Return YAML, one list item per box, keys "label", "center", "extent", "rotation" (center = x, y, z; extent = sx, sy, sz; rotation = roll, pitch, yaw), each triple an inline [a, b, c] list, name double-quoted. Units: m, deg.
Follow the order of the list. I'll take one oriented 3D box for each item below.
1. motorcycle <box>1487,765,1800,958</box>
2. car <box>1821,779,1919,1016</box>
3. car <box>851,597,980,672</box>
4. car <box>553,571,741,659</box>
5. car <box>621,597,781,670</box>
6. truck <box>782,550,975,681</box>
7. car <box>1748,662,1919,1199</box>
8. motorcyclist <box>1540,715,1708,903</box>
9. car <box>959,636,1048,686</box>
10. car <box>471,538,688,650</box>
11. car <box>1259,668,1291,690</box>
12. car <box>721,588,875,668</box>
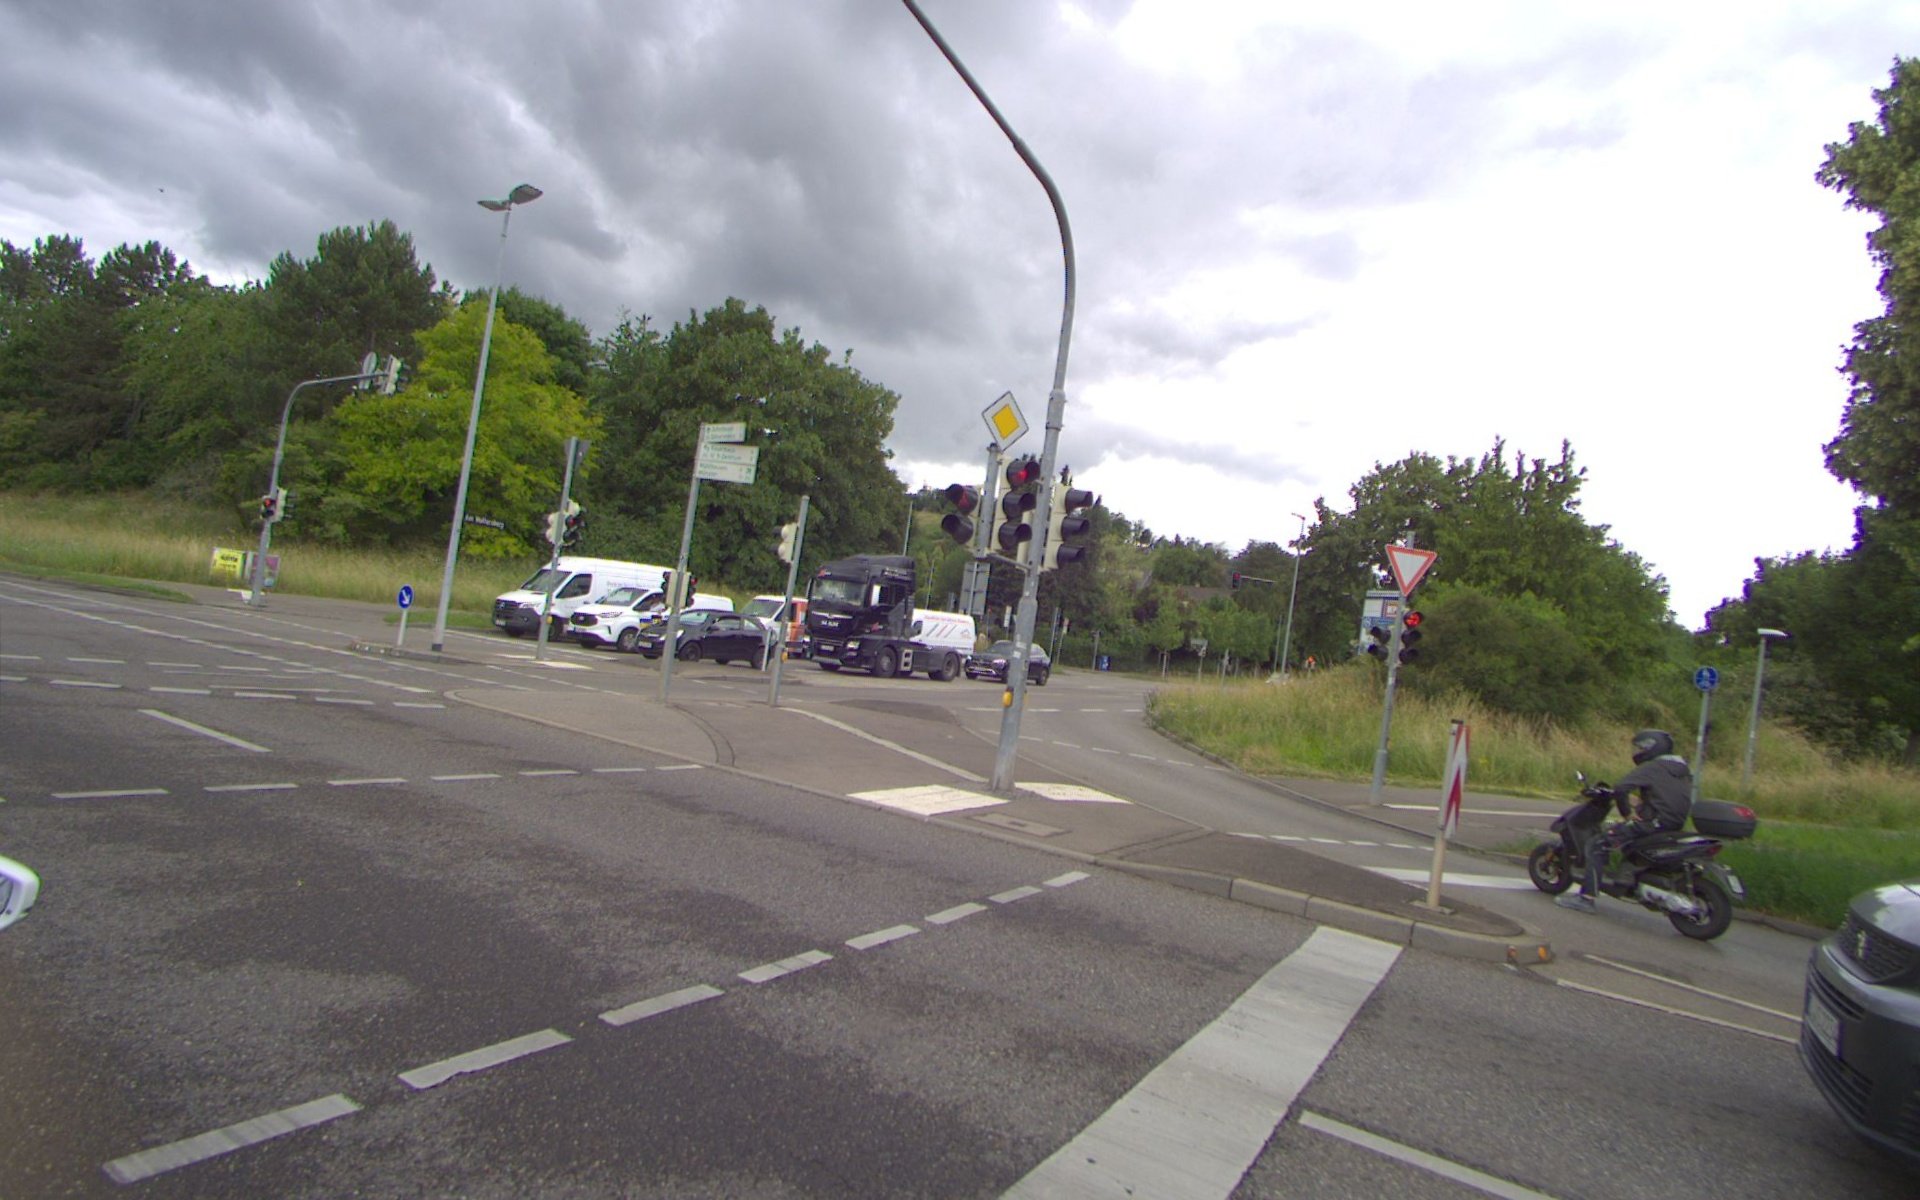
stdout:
- label: "motorcycle"
  center: [5.783, 2.181, 8.693]
  extent: [0.750, 1.102, 2.059]
  rotation: [9, -2, -23]
- label: "car"
  center: [8.451, 2.238, 6.125]
  extent: [4.434, 1.435, 1.838]
  rotation: [7, -4, 26]
- label: "car"
  center: [-1.896, 1.674, 46.216]
  extent: [2.193, 2.751, 6.674]
  rotation: [5, -3, 33]
- label: "car"
  center: [-9.041, 0.504, 29.514]
  extent: [2.086, 2.013, 4.981]
  rotation: [4, -3, 32]
- label: "car"
  center: [-6.720, 0.917, 26.455]
  extent: [1.610, 1.458, 3.859]
  rotation: [6, -2, 34]
- label: "truck"
  center: [-2.529, 0.627, 33.145]
  extent: [3.025, 3.558, 5.950]
  rotation: [5, -3, 33]
- label: "car"
  center: [4.955, 1.346, 2.633]
  extent: [4.150, 1.801, 1.813]
  rotation: [6, -1, 29]
- label: "motorcyclist"
  center: [5.798, 1.809, 8.812]
  extent: [0.750, 1.437, 0.813]
  rotation: [9, -2, -23]
- label: "car"
  center: [1.766, 2.440, 39.662]
  extent: [1.722, 1.593, 3.861]
  rotation: [6, -2, 32]
- label: "car"
  center: [-11.607, -0.078, 31.251]
  extent: [2.192, 2.689, 5.950]
  rotation: [5, -3, 33]
- label: "car"
  center: [26.764, 6.712, 85.420]
  extent: [1.609, 1.593, 3.861]
  rotation: [6, -2, 32]
- label: "car"
  center: [-6.146, 1.152, 38.996]
  extent: [2.193, 2.413, 5.948]
  rotation: [5, -3, 35]
